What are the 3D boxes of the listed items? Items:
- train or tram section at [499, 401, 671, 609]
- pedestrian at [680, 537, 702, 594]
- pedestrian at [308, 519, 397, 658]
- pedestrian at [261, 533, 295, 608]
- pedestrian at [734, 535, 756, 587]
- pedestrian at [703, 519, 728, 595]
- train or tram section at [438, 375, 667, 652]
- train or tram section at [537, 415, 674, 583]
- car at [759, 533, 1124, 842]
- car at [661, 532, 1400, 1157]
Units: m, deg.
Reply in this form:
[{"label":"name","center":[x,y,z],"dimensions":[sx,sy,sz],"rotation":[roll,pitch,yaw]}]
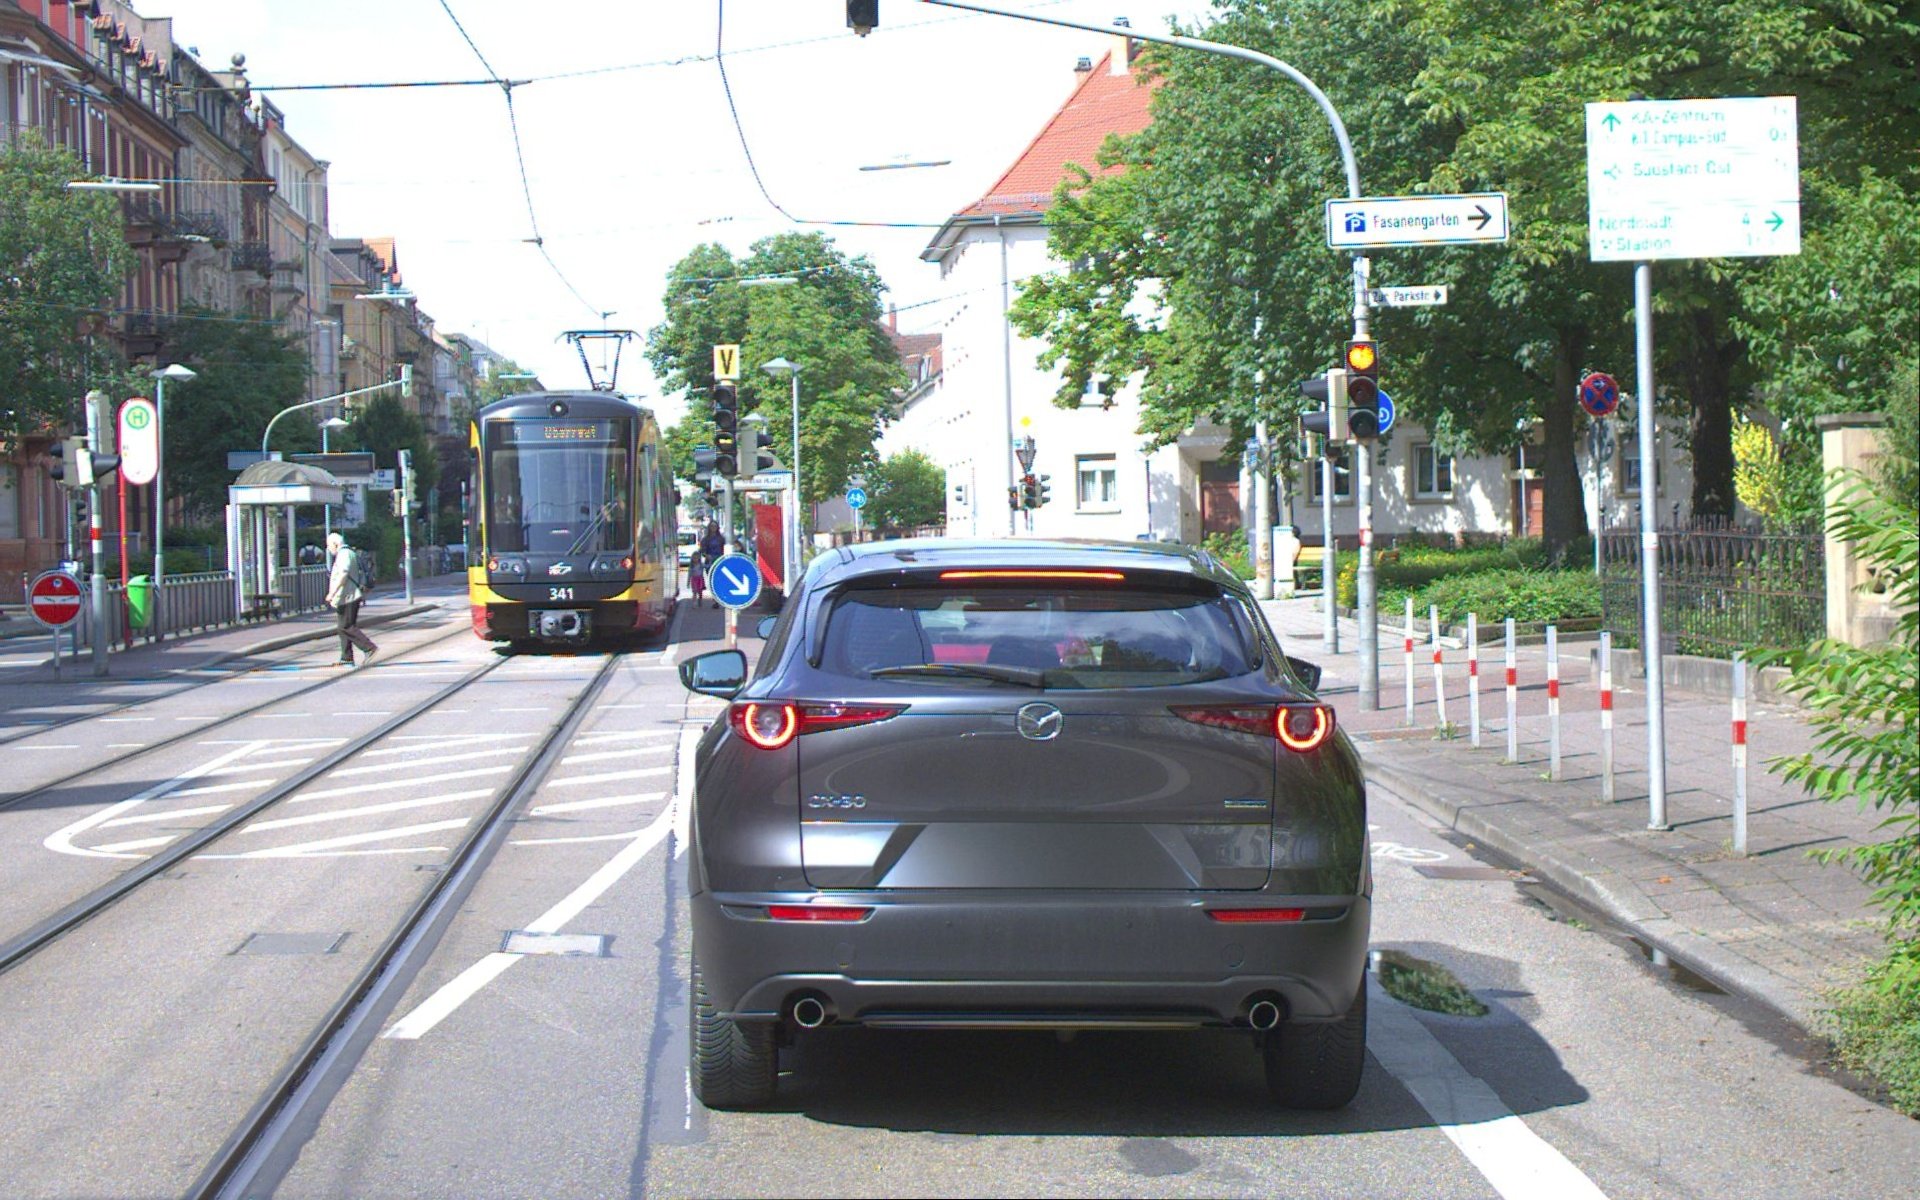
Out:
[{"label":"train or tram section","center":[-6.961,-1.872,65.459],"dimensions":[2.752,3.478,14.411],"rotation":[-1,2,-5]},{"label":"pedestrian","center":[-5.125,-0.661,65.492],"dimensions":[0.379,1.067,0.474],"rotation":[-1,1,-4]},{"label":"pedestrian","center":[-7.531,-0.144,42.649],"dimensions":[0.717,1.699,0.823],"rotation":[-1,1,23]},{"label":"pedestrian","center":[-12.770,-0.547,64.378],"dimensions":[0.429,1.394,0.398],"rotation":[-1,1,30]},{"label":"pedestrian","center":[-4.108,-0.743,65.731],"dimensions":[0.379,0.981,0.474],"rotation":[-1,1,-5]},{"label":"pedestrian","center":[-4.675,-0.820,65.680],"dimensions":[0.450,1.429,0.474],"rotation":[-1,1,-5]},{"label":"train or tram section","center":[-5.818,-1.369,51.129],"dimensions":[2.752,3.478,14.411],"rotation":[-1,2,-5]},{"label":"train or tram section","center":[-8.085,-2.395,79.832],"dimensions":[2.752,3.478,14.411],"rotation":[-1,2,-5]},{"label":"car","center":[-0.124,0.396,18.985],"dimensions":[1.778,1.494,4.000],"rotation":[1,1,-1]},{"label":"car","center":[0.139,0.559,10.380],"dimensions":[1.778,1.494,4.000],"rotation":[1,1,-1]}]
